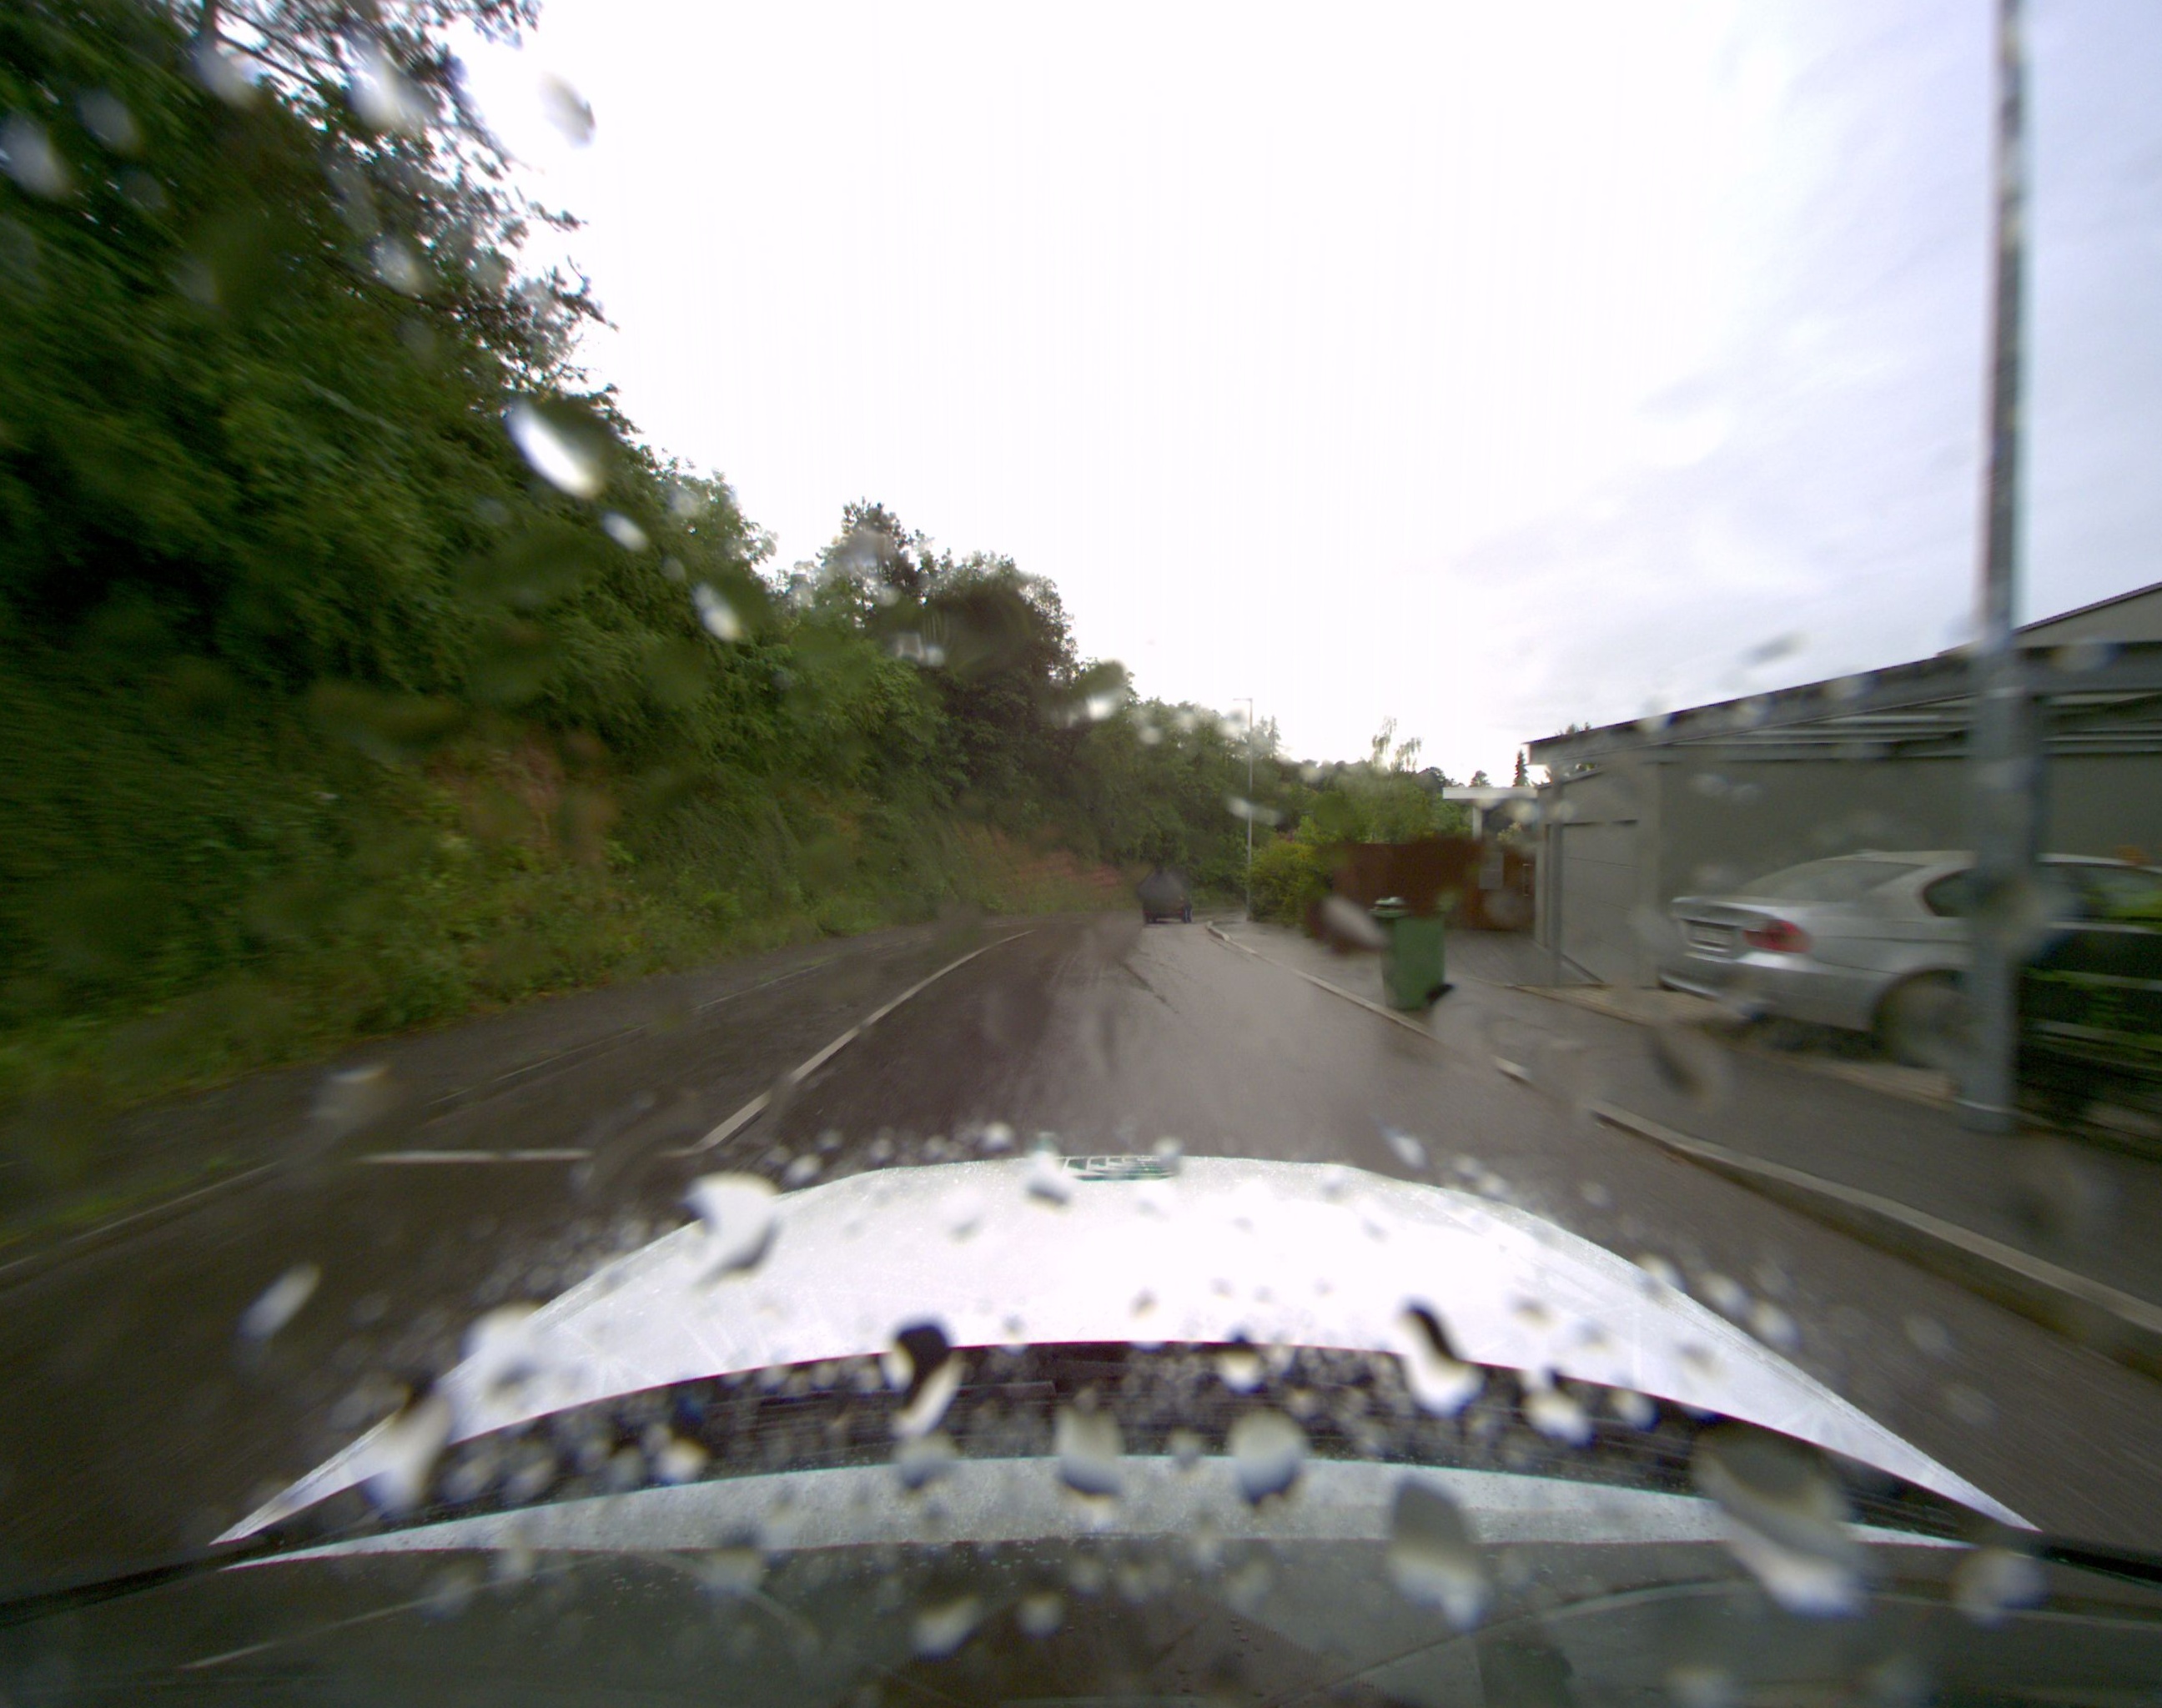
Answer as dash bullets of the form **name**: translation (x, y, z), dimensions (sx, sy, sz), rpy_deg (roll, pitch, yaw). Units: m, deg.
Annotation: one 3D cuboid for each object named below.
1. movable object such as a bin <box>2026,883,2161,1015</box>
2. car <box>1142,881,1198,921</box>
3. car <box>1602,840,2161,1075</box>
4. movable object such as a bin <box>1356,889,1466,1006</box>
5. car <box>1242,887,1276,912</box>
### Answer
- **movable object such as a bin**: translation (8.974, 0.796, 7.006), dimensions (0.945, 1.057, 0.575), rpy_deg (-1, 2, 18)
- **car**: translation (3.764, 1.957, 33.848), dimensions (1.856, 1.513, 4.105), rpy_deg (1, -3, 13)
- **car**: translation (6.542, 0.662, 5.962), dimensions (4.191, 1.415, 1.946), rpy_deg (1, -1, 9)
- **movable object such as a bin**: translation (3.396, 0.942, 8.437), dimensions (0.787, 1.096, 0.675), rpy_deg (-4, -2, -1)
- **car**: translation (14.204, 3.607, 64.930), dimensions (1.976, 1.605, 4.432), rpy_deg (1, 1, 21)
